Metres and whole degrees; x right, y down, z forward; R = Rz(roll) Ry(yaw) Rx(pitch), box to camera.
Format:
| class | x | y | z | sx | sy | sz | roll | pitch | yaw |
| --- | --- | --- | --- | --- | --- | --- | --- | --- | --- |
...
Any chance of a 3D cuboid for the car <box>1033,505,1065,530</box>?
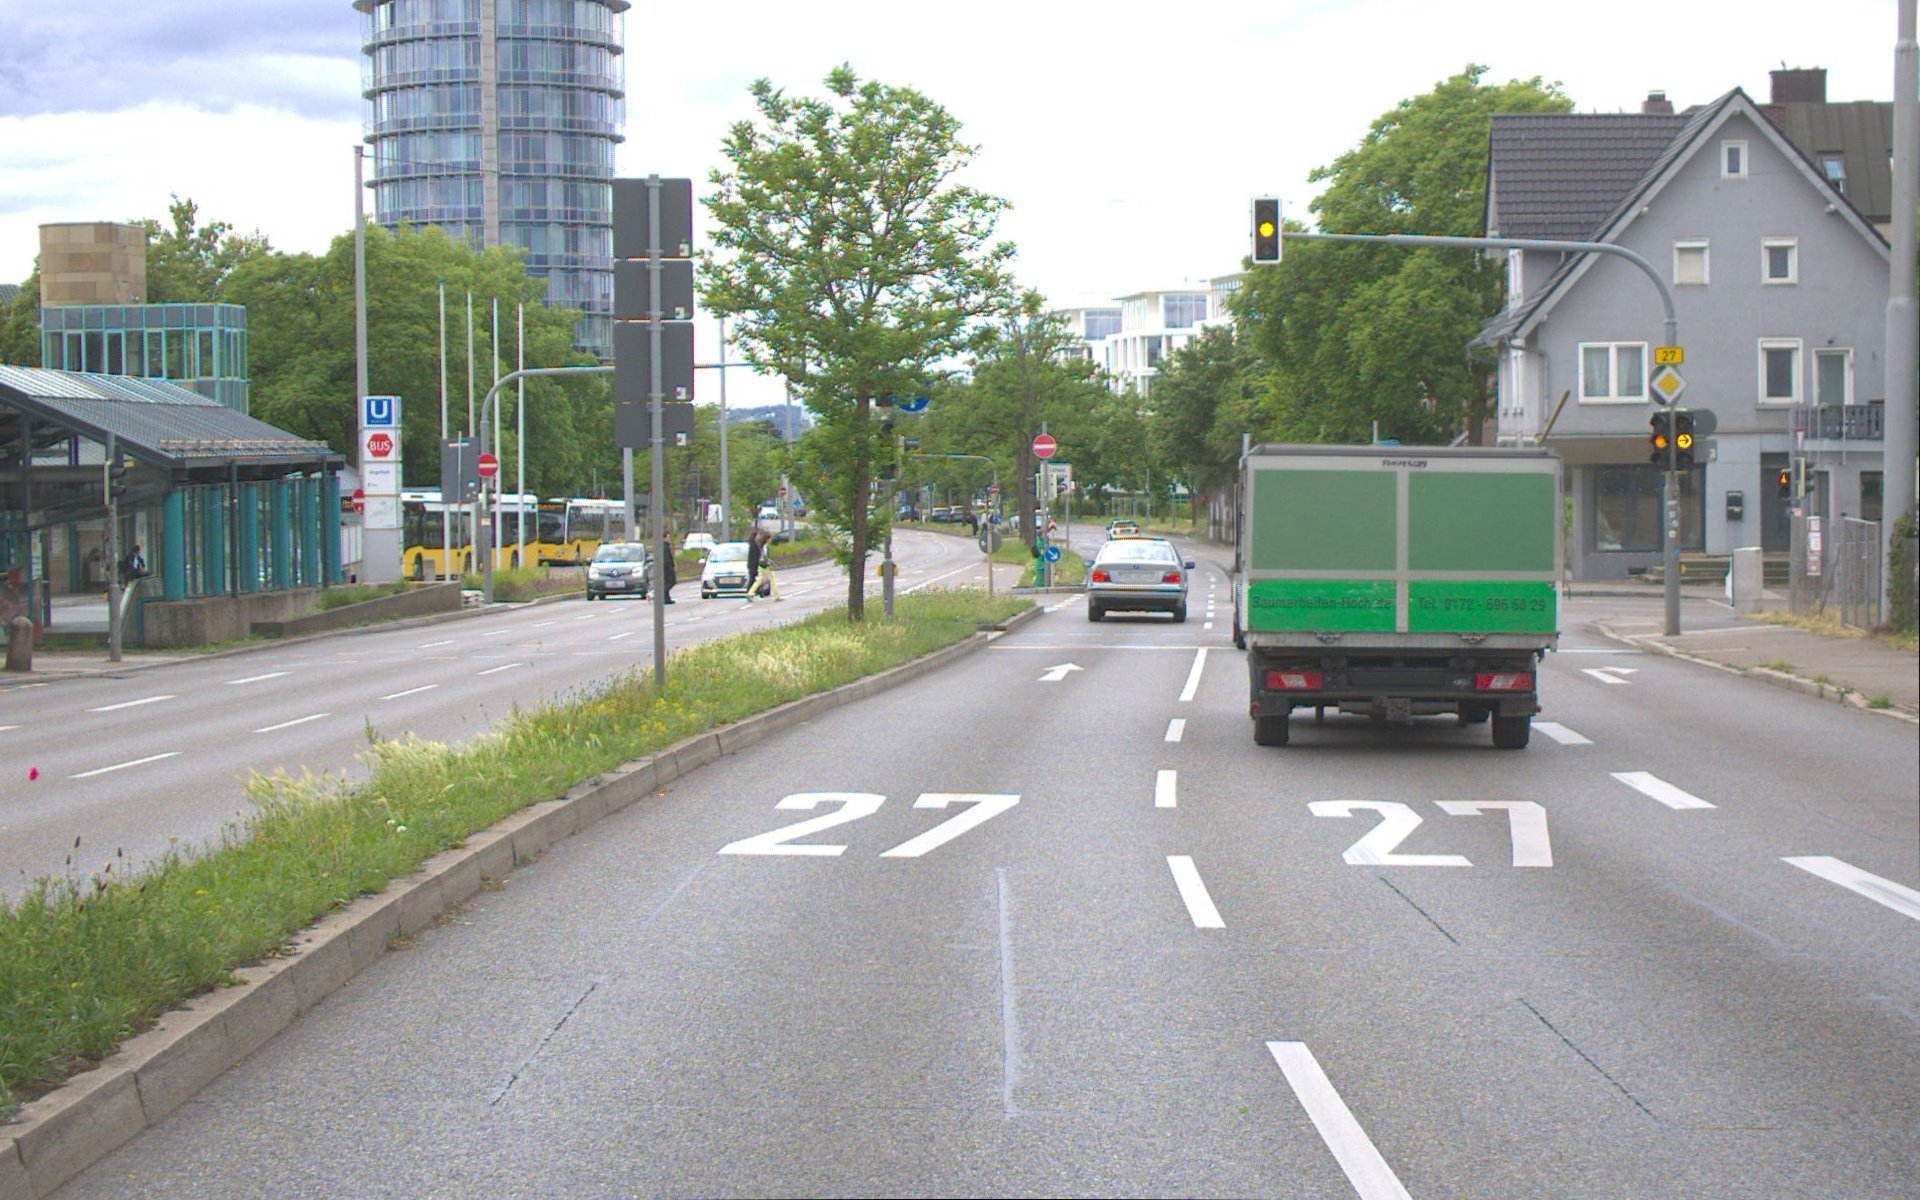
| class | x | y | z | sx | sy | sz | roll | pitch | yaw |
| --- | --- | --- | --- | --- | --- | --- | --- | --- | --- |
| car | 5.655 | -5.239 | 218.537 | 1.993 | 1.514 | 4.000 | -1 | 1 | 1 |

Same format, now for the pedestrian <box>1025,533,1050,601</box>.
| class | x | y | z | sx | sy | sz | roll | pitch | yaw |
| --- | --- | --- | --- | --- | --- | --- | --- | --- | --- |
| pedestrian | 1.966 | -0.848 | 87.434 | 0.583 | 1.710 | 0.546 | -1 | 1 | -2 |

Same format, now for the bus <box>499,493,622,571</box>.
| class | x | y | z | sx | sy | sz | roll | pitch | yaw |
| --- | --- | --- | --- | --- | --- | --- | --- | --- | --- |
| bus | -18.338 | -3.124 | 158.630 | 2.833 | 3.419 | 10.730 | -1 | 1 | 9 |

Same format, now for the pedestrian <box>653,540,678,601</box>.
| class | x | y | z | sx | sy | sz | roll | pitch | yaw |
| --- | --- | --- | --- | --- | --- | --- | --- | --- | --- |
| pedestrian | -7.278 | -0.735 | 84.881 | 0.543 | 1.491 | 0.486 | -1 | 1 | 1 |

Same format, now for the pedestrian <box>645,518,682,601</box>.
| class | x | y | z | sx | sy | sz | roll | pitch | yaw |
| --- | --- | --- | --- | --- | --- | --- | --- | --- | --- |
| pedestrian | -7.266 | -1.002 | 84.200 | 0.830 | 2.007 | 0.546 | -1 | 1 | -2 |

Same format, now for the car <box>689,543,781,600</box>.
| class | x | y | z | sx | sy | sz | roll | pitch | yaw |
| --- | --- | --- | --- | --- | --- | --- | --- | --- | --- |
| car | -6.111 | -0.799 | 93.818 | 1.994 | 1.481 | 4.000 | -1 | 1 | 3 |

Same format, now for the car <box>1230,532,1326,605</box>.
| class | x | y | z | sx | sy | sz | roll | pitch | yaw |
| --- | --- | --- | --- | --- | --- | --- | --- | --- | --- |
| car | 6.875 | -0.706 | 74.649 | 1.994 | 1.546 | 4.000 | 1 | 1 | 5 |

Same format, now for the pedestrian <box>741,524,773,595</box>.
| class | x | y | z | sx | sy | sz | roll | pitch | yaw |
| --- | --- | --- | --- | --- | --- | --- | --- | --- | --- |
| pedestrian | -4.989 | -0.993 | 84.485 | 0.745 | 1.710 | 0.583 | -1 | 1 | -2 |

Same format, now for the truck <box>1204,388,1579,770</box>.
| class | x | y | z | sx | sy | sz | roll | pitch | yaw |
| --- | --- | --- | --- | --- | --- | --- | --- | --- | --- |
| truck | 3.185 | -0.271 | 26.854 | 2.471 | 2.602 | 6.547 | 0 | 2 | 3 |

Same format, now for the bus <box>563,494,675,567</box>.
| class | x | y | z | sx | sy | sz | roll | pitch | yaw |
| --- | --- | --- | --- | --- | --- | --- | --- | --- | --- |
| bus | -16.710 | -3.408 | 169.259 | 2.833 | 3.419 | 10.730 | -1 | 1 | 9 |

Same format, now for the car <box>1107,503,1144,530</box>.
| class | x | y | z | sx | sy | sz | roll | pitch | yaw |
| --- | --- | --- | --- | --- | --- | --- | --- | --- | --- |
| car | 9.482 | -4.778 | 197.230 | 1.993 | 1.514 | 4.000 | -1 | 1 | 1 |

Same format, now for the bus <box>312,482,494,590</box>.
| class | x | y | z | sx | sy | sz | roll | pitch | yaw |
| --- | --- | --- | --- | --- | --- | --- | --- | --- | --- |
| bus | -18.701 | -2.152 | 116.312 | 2.833 | 3.419 | 10.730 | -1 | 1 | 9 |

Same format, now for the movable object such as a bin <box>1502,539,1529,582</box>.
| class | x | y | z | sx | sy | sz | roll | pitch | yaw |
| --- | --- | --- | --- | --- | --- | --- | --- | --- | --- |
| movable object such as a bin | 13.654 | -0.968 | 84.506 | 0.604 | 1.056 | 0.589 | 1 | 1 | 7 |

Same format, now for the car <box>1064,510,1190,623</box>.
| class | x | y | z | sx | sy | sz | roll | pitch | yaw |
| --- | --- | --- | --- | --- | --- | --- | --- | --- | --- |
| car | 2.870 | -0.594 | 58.437 | 1.994 | 1.824 | 4.000 | 1 | 1 | 5 |

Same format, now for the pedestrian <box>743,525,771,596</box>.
| class | x | y | z | sx | sy | sz | roll | pitch | yaw |
| --- | --- | --- | --- | --- | --- | --- | --- | --- | --- |
| pedestrian | -4.952 | -0.973 | 83.876 | 0.653 | 1.710 | 0.452 | -1 | 1 | -2 |

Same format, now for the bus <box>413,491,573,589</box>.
| class | x | y | z | sx | sy | sz | roll | pitch | yaw |
| --- | --- | --- | --- | --- | --- | --- | --- | --- | --- |
| bus | -17.093 | -2.210 | 126.662 | 2.833 | 3.419 | 10.730 | -1 | 1 | 9 |

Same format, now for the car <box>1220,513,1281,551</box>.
| class | x | y | z | sx | sy | sz | roll | pitch | yaw |
| --- | --- | --- | --- | --- | --- | --- | --- | --- | --- |
| car | 12.417 | -2.894 | 147.038 | 1.993 | 1.546 | 4.001 | -1 | 1 | -4 |

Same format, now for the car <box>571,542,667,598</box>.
| class | x | y | z | sx | sy | sz | roll | pitch | yaw |
| --- | --- | --- | --- | --- | --- | --- | --- | --- | --- |
| car | -9.333 | -0.836 | 94.438 | 1.994 | 1.481 | 4.000 | -1 | 1 | 3 |
